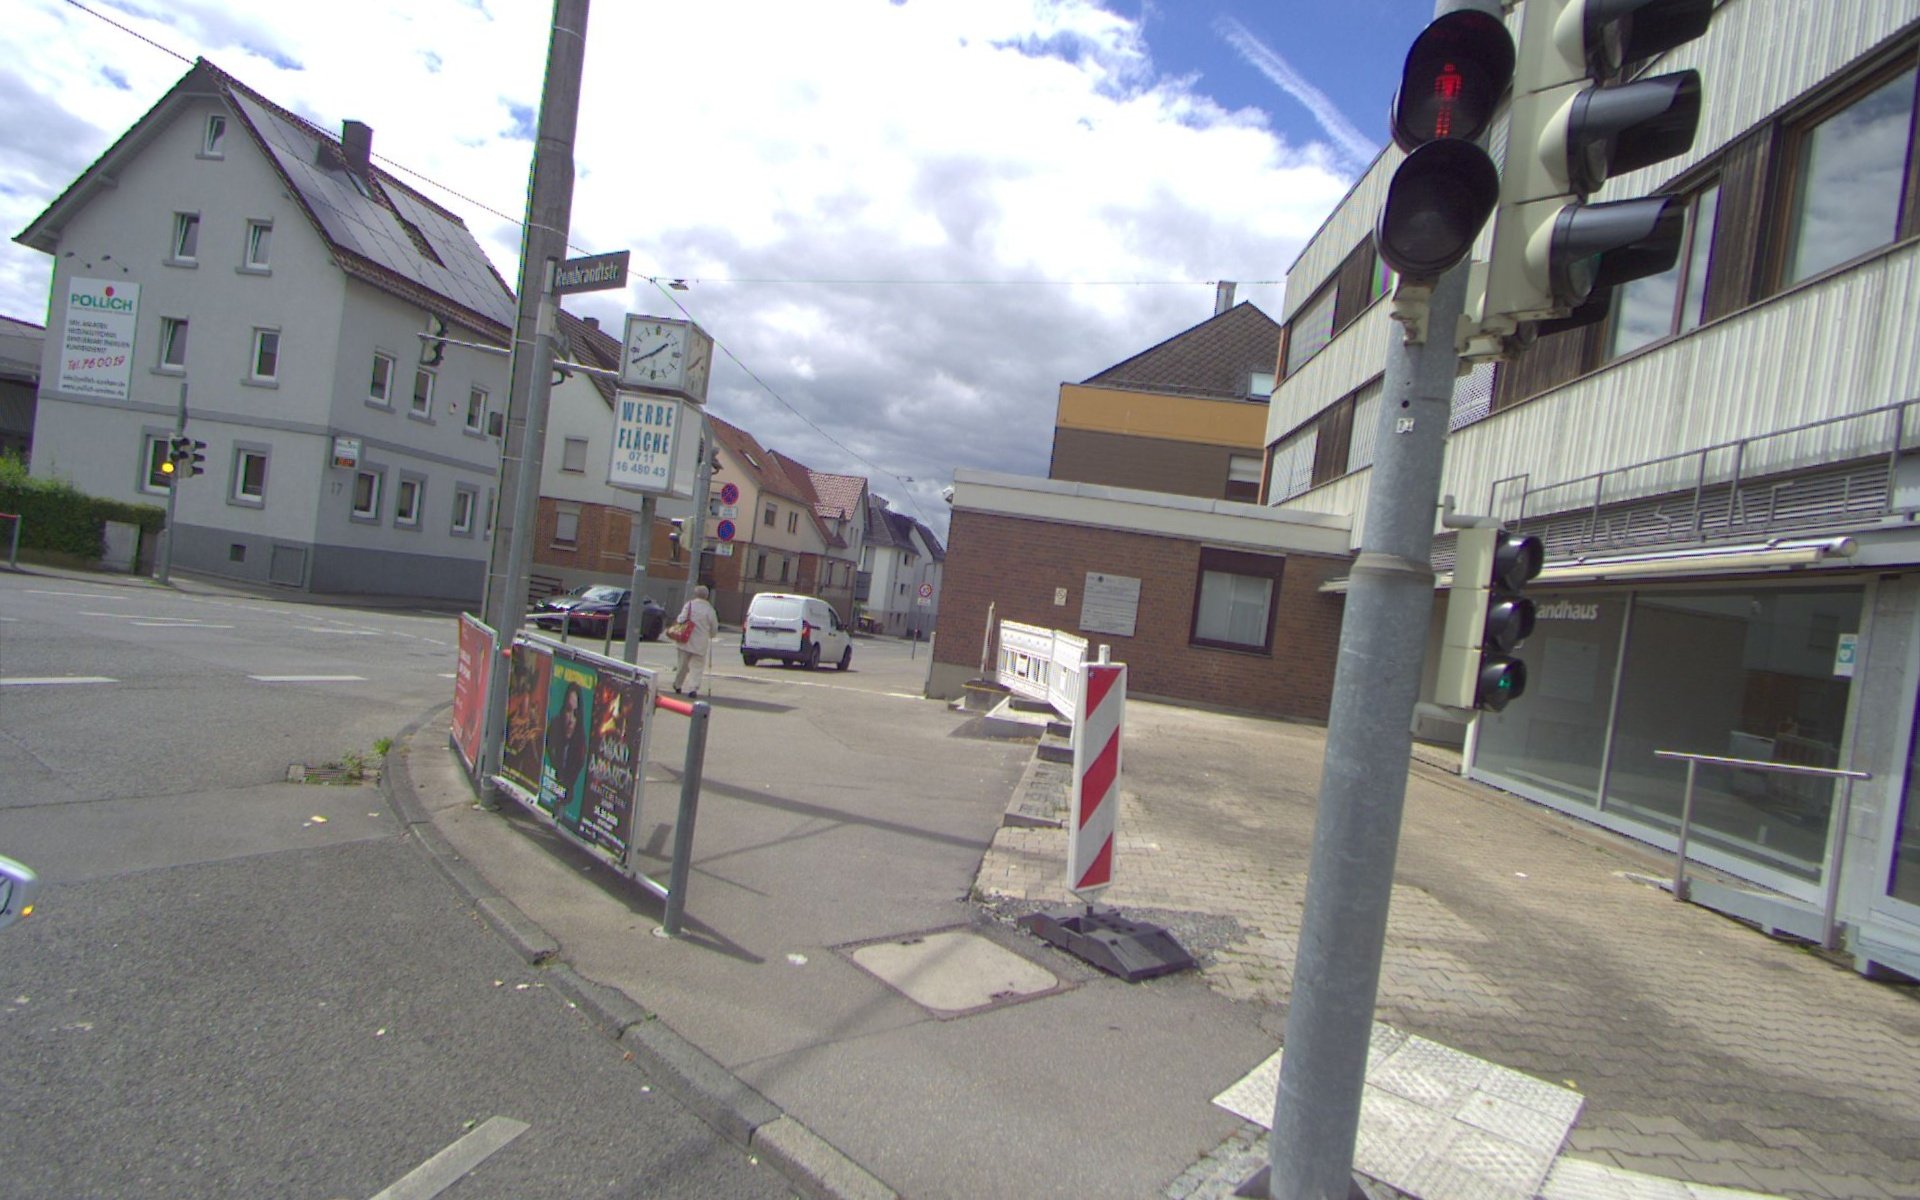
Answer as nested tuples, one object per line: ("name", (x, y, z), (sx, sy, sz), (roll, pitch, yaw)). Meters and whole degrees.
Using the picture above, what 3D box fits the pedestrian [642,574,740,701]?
("pedestrian", (-3.757, 0.529, 14.064), (0.860, 1.657, 0.834), (5, -1, 36))

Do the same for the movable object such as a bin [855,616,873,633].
("movable object such as a bin", (-8.128, 2.091, 85.420), (1.261, 1.325, 0.817), (8, -1, 4))

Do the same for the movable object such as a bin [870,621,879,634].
("movable object such as a bin", (-7.365, 2.366, 86.432), (0.523, 1.042, 0.455), (8, 0, 7))

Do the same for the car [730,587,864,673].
("car", (-4.080, 0.855, 26.070), (1.880, 1.814, 4.499), (6, -3, 10))

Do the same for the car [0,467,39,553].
("car", (-23.904, -2.342, 22.772), (1.962, 1.970, 4.004), (7, -1, 10))

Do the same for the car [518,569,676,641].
("car", (-9.851, 0.218, 27.744), (1.962, 1.473, 4.622), (10, -1, 9))
